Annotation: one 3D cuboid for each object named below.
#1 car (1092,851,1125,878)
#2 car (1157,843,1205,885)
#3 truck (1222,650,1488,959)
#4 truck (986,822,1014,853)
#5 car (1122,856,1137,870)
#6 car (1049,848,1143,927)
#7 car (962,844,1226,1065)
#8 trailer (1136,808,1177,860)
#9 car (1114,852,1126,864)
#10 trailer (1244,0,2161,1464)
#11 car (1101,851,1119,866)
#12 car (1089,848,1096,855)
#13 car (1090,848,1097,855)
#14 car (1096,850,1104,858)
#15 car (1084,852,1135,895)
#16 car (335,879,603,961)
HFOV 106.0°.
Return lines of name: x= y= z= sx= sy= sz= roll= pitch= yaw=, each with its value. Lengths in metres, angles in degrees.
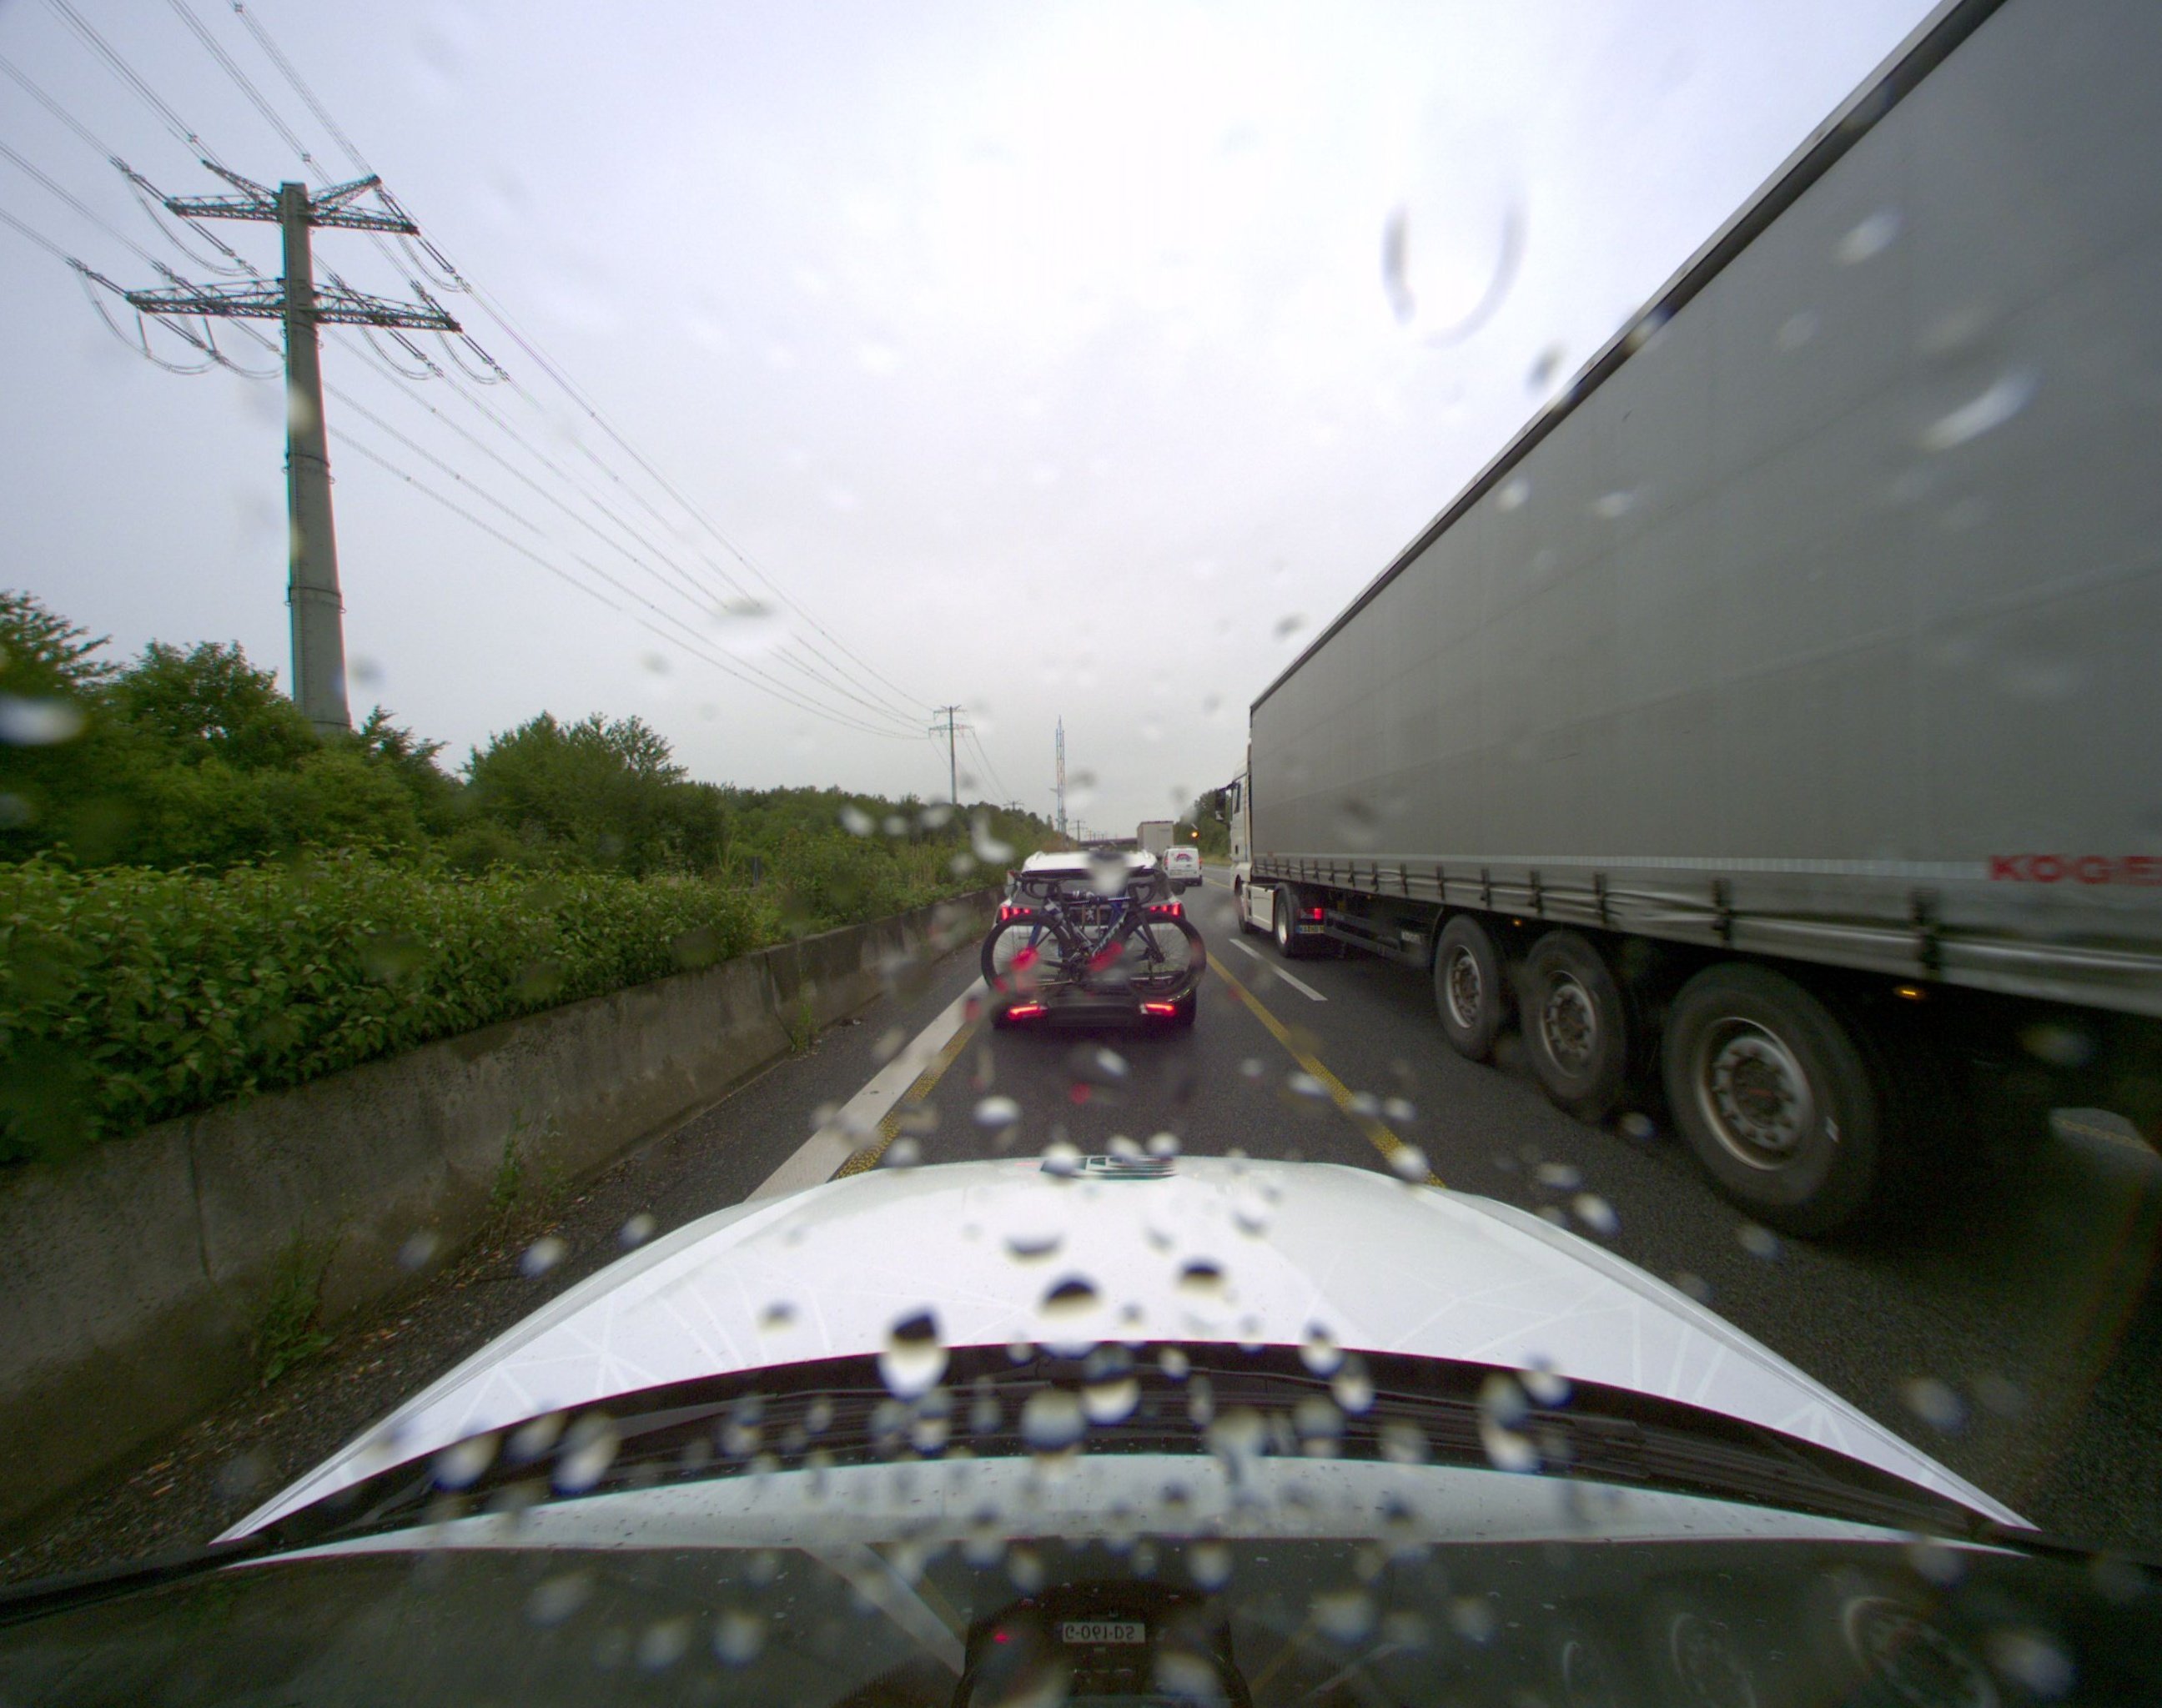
car: x=1.662 y=0.636 z=49.284 sx=1.843 sy=1.531 sz=4.002 roll=-1 pitch=0 yaw=2
car: x=4.699 y=0.456 z=38.875 sx=1.822 sy=1.839 sz=4.657 roll=-1 pitch=0 yaw=2
truck: x=4.198 y=-0.674 z=13.879 sx=2.696 sy=4.138 sz=5.693 roll=-1 pitch=0 yaw=2
truck: x=-11.522 y=-2.242 z=115.957 sx=2.776 sy=4.023 sz=7.235 roll=-4 pitch=0 yaw=1
car: x=7.166 y=1.309 z=120.822 sx=2.102 sy=1.973 sz=4.002 roll=-1 pitch=1 yaw=2
car: x=0.359 y=0.672 z=18.208 sx=1.843 sy=1.531 sz=4.002 roll=-1 pitch=0 yaw=2
car: x=0.169 y=0.712 z=8.159 sx=1.843 sy=1.531 sz=4.770 roll=-1 pitch=0 yaw=2
trailer: x=6.418 y=-1.560 z=71.219 sx=2.682 sy=4.076 sz=13.639 roll=-1 pitch=0 yaw=2
car: x=7.239 y=0.752 z=151.843 sx=2.140 sy=1.973 sz=4.002 roll=-1 pitch=1 yaw=2
trailer: x=3.969 y=-0.697 z=7.138 sx=2.696 sy=4.146 sz=13.737 roll=-1 pitch=0 yaw=2
car: x=3.119 y=0.505 z=87.601 sx=1.843 sy=1.531 sz=4.002 roll=-1 pitch=0 yaw=2
car: x=3.072 y=-0.658 z=219.831 sx=1.924 sy=1.910 sz=4.002 roll=-1 pitch=1 yaw=2
car: x=3.617 y=-0.725 z=232.572 sx=1.924 sy=1.973 sz=4.002 roll=-1 pitch=1 yaw=2
car: x=4.816 y=0.042 z=201.782 sx=1.924 sy=1.973 sz=4.002 roll=-1 pitch=1 yaw=2
car: x=1.126 y=0.725 z=31.985 sx=1.843 sy=1.531 sz=4.002 roll=-1 pitch=0 yaw=2
car: x=-11.357 y=1.157 z=15.543 sx=1.986 sy=1.191 sz=4.002 roll=-1 pitch=0 yaw=2
